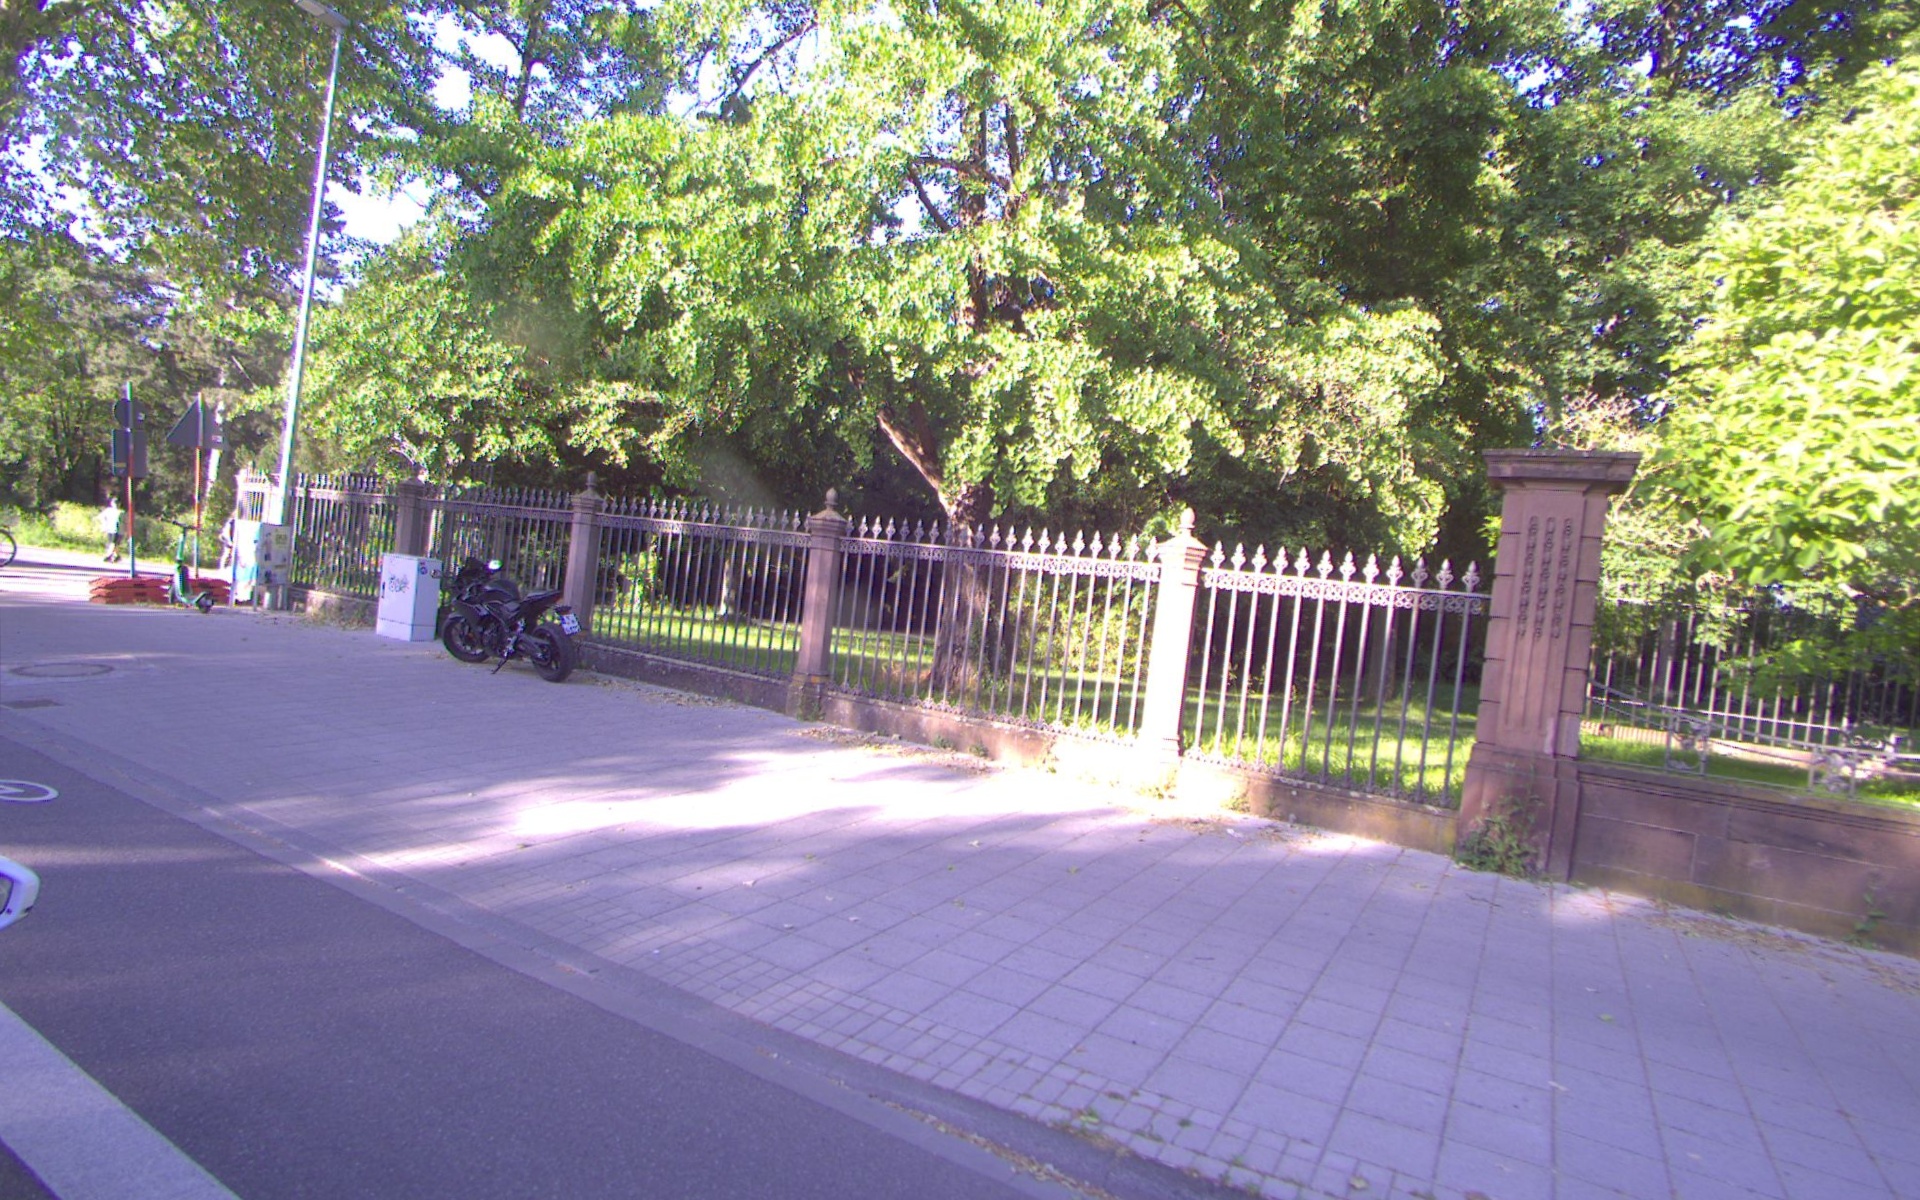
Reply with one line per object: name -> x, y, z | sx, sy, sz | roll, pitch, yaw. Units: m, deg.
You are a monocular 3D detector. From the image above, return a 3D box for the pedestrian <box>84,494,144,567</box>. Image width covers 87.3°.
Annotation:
pedestrian -> -19.695, -1.602, 23.440 | 0.812, 1.536, 0.909 | 7, -1, -32

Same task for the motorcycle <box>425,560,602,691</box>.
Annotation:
motorcycle -> -4.775, 0.238, 10.687 | 2.134, 1.146, 0.506 | 6, 2, 30

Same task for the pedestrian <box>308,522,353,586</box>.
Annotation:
pedestrian -> -17.864, -1.312, 28.548 | 0.823, 1.702, 0.685 | 7, 0, -45

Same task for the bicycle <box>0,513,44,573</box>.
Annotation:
bicycle -> -17.211, -1.054, 17.228 | 0.736, 0.988, 2.099 | 7, 1, 19

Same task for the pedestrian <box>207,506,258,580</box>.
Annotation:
pedestrian -> -18.269, -1.426, 25.261 | 0.633, 1.720, 0.690 | 6, 0, 31

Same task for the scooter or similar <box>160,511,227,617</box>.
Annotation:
scooter or similar -> -10.486, -0.503, 13.752 | 1.152, 1.344, 0.228 | 7, 2, 30
